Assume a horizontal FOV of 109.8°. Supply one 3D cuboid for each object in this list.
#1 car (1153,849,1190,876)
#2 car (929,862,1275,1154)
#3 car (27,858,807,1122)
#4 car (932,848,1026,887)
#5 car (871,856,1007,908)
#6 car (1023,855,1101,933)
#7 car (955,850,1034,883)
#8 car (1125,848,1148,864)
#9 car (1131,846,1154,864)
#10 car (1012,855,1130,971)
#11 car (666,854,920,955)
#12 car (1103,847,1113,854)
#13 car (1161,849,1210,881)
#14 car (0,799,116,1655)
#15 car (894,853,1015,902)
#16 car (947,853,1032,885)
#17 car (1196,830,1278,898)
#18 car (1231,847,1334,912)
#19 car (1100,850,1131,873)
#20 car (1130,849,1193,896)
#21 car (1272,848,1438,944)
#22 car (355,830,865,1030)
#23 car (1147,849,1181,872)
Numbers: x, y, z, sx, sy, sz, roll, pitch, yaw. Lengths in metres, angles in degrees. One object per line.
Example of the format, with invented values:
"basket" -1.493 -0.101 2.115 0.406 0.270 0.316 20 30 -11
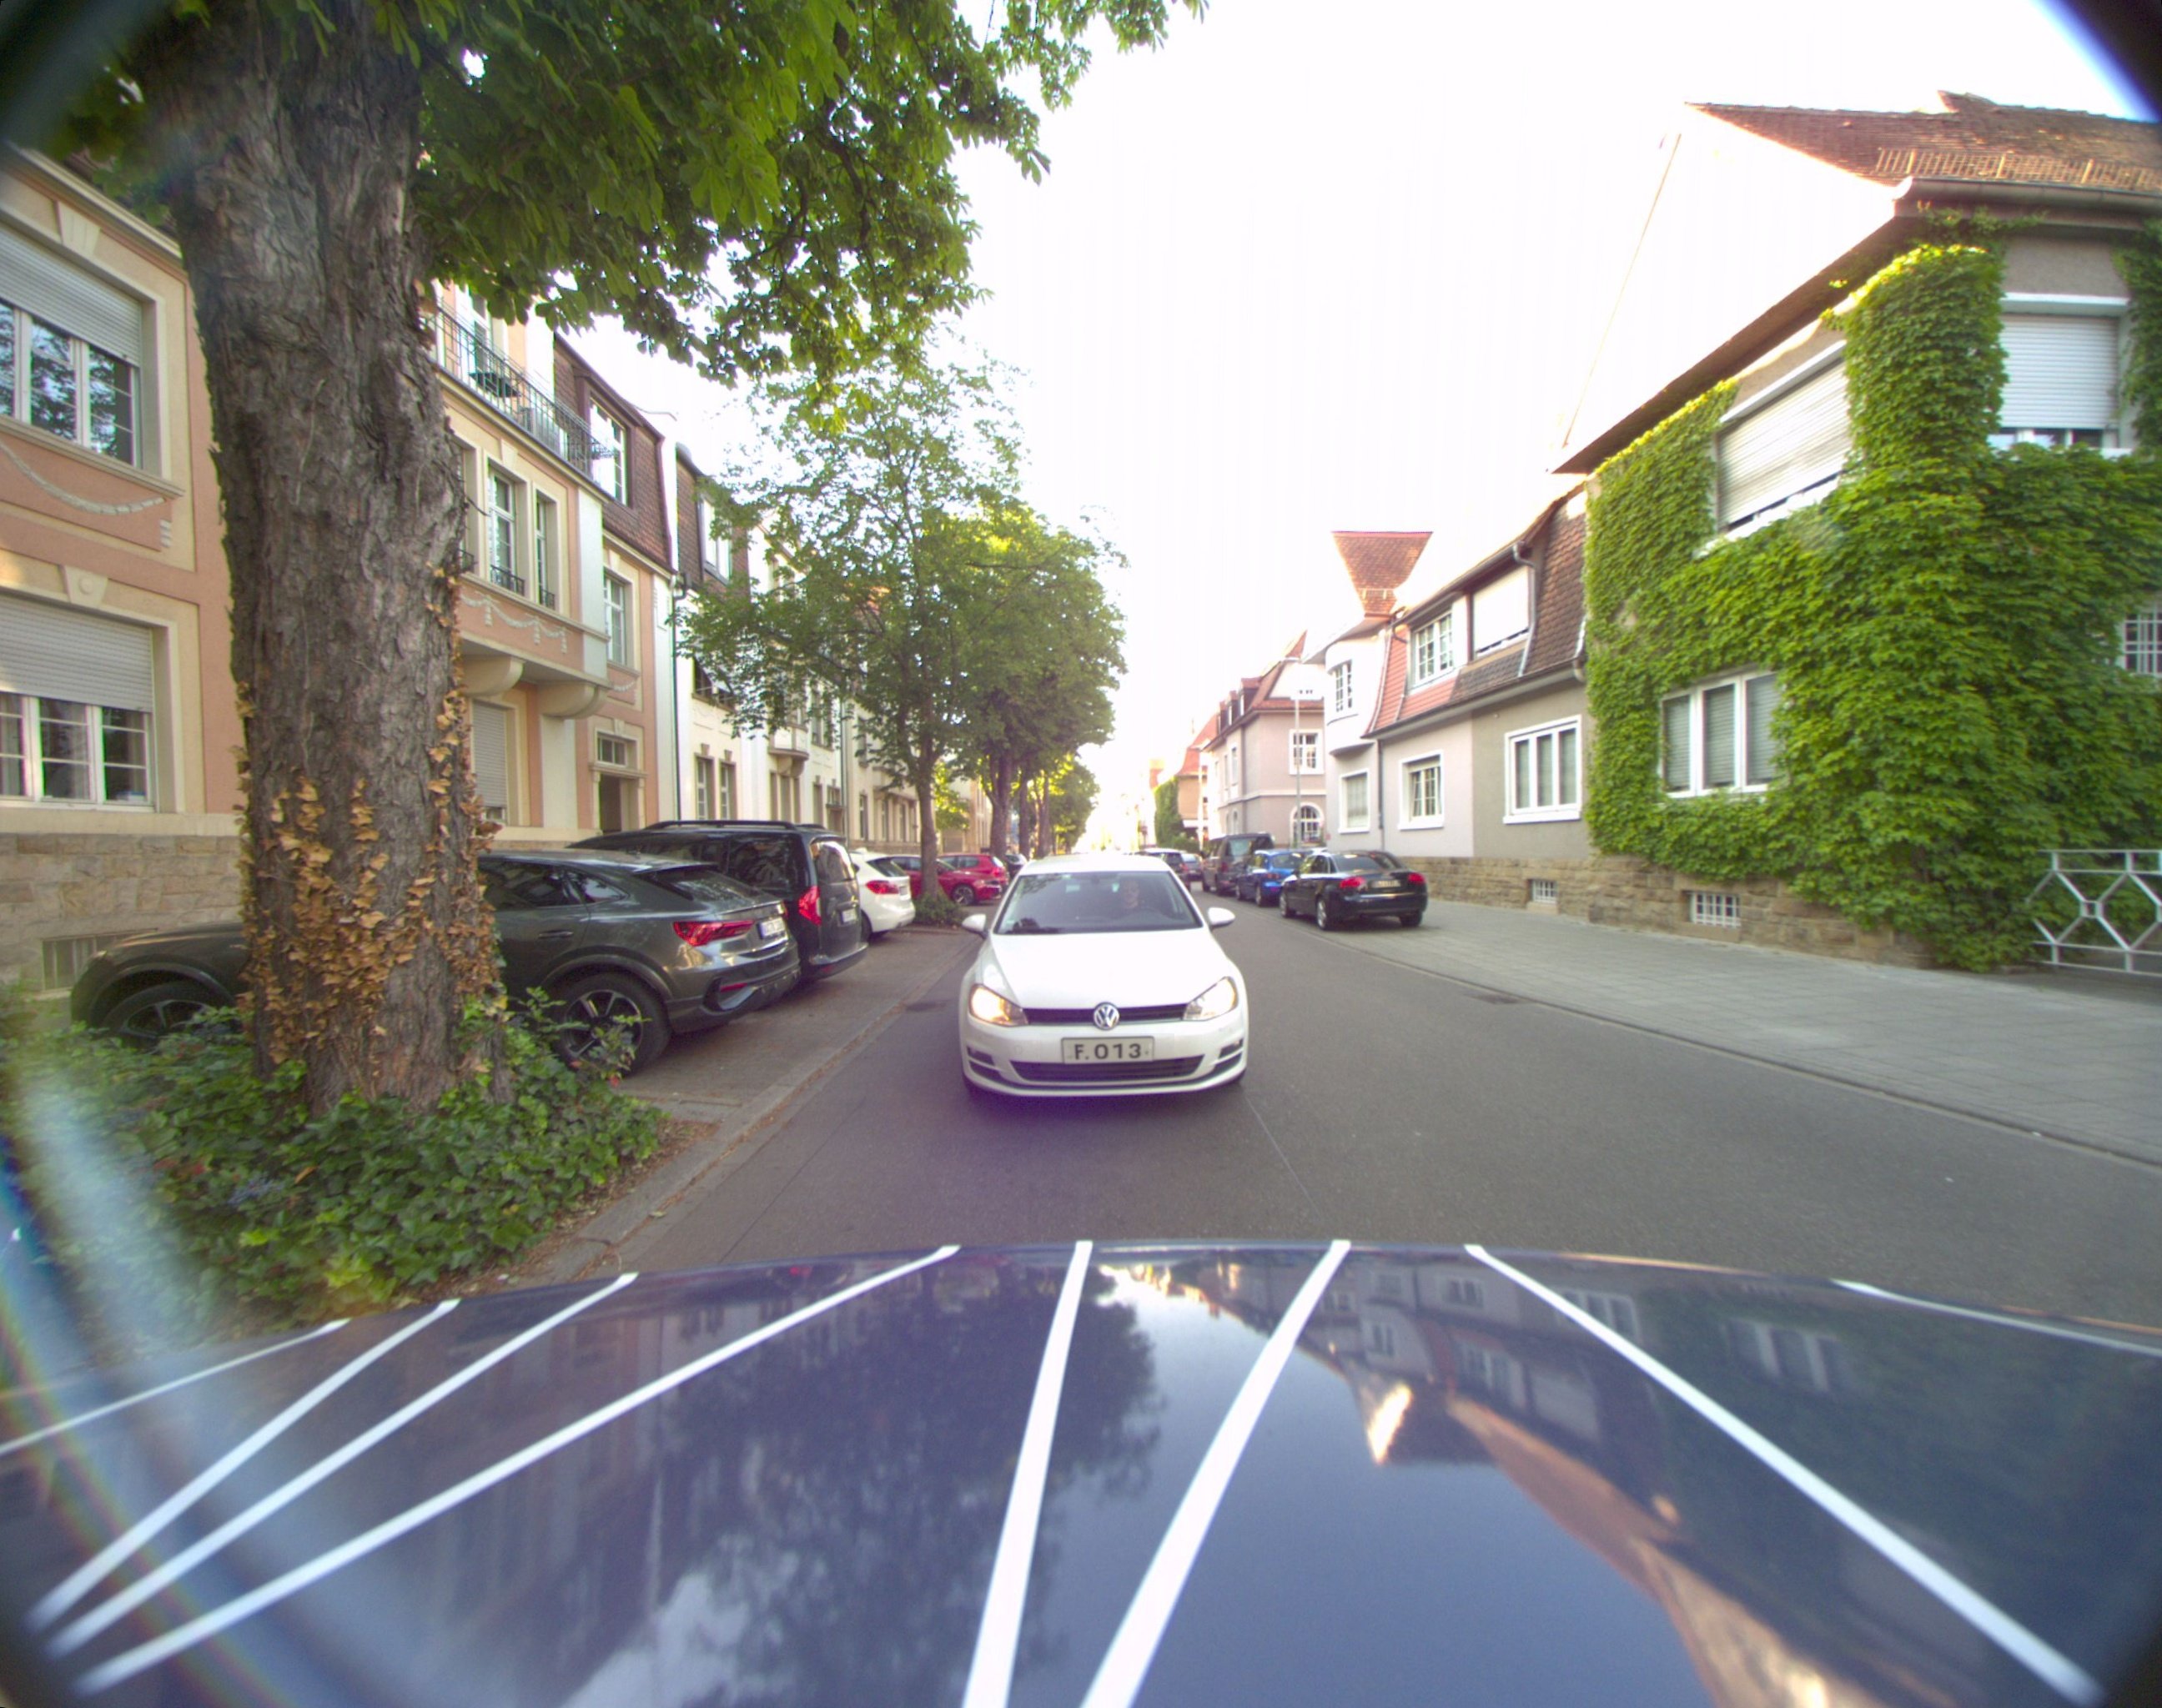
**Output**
"car" 5.008 0.426 42.528 1.541 1.363 3.945 -3 1 0
"car" 0.078 0.846 6.086 1.799 1.420 4.023 -2 0 -1
"car" -4.380 0.859 5.579 4.173 1.583 1.594 0 1 -4
"car" -4.140 0.539 31.109 3.622 1.555 1.537 0 1 0
"car" -4.047 0.792 21.949 3.622 1.395 1.537 1 1 0
"car" -0.363 0.820 17.293 1.560 1.546 3.738 1 0 1
"car" -4.166 0.598 37.012 3.622 1.555 1.537 0 1 0
"car" 5.467 0.207 75.507 1.643 1.461 3.688 -3 1 -4
"car" 5.538 0.057 68.480 1.643 1.461 3.945 -3 1 0
"car" -0.114 0.813 12.413 1.600 1.546 4.000 1 0 1
"car" -4.610 0.787 12.564 3.623 1.541 1.537 0 1 -4
"car" 5.322 -0.699 149.529 1.643 1.461 3.689 -3 1 0
"car" 5.016 0.502 36.996 1.719 1.363 4.334 -3 1 0
"car" -4.647 0.785 0.682 4.835 1.814 1.880 0 1 -4
"car" -4.015 0.733 24.507 3.622 1.456 1.537 1 1 0
"car" -4.106 0.681 34.324 3.622 1.395 1.537 0 1 0
"car" 5.118 0.276 25.483 1.719 1.961 4.310 -4 1 0
"car" 5.295 0.604 20.513 1.611 1.455 4.023 -4 1 0
"car" 2.225 0.467 50.362 1.786 1.453 4.299 1 0 -1
"car" 2.702 0.587 26.205 1.620 1.493 3.591 1 1 -3
"car" 5.050 0.684 14.611 1.751 1.421 4.023 -4 1 1
"car" -4.517 0.694 7.811 4.173 1.816 1.594 0 2 -4
"car" 5.485 0.397 50.735 1.719 1.363 3.945 -3 1 0
